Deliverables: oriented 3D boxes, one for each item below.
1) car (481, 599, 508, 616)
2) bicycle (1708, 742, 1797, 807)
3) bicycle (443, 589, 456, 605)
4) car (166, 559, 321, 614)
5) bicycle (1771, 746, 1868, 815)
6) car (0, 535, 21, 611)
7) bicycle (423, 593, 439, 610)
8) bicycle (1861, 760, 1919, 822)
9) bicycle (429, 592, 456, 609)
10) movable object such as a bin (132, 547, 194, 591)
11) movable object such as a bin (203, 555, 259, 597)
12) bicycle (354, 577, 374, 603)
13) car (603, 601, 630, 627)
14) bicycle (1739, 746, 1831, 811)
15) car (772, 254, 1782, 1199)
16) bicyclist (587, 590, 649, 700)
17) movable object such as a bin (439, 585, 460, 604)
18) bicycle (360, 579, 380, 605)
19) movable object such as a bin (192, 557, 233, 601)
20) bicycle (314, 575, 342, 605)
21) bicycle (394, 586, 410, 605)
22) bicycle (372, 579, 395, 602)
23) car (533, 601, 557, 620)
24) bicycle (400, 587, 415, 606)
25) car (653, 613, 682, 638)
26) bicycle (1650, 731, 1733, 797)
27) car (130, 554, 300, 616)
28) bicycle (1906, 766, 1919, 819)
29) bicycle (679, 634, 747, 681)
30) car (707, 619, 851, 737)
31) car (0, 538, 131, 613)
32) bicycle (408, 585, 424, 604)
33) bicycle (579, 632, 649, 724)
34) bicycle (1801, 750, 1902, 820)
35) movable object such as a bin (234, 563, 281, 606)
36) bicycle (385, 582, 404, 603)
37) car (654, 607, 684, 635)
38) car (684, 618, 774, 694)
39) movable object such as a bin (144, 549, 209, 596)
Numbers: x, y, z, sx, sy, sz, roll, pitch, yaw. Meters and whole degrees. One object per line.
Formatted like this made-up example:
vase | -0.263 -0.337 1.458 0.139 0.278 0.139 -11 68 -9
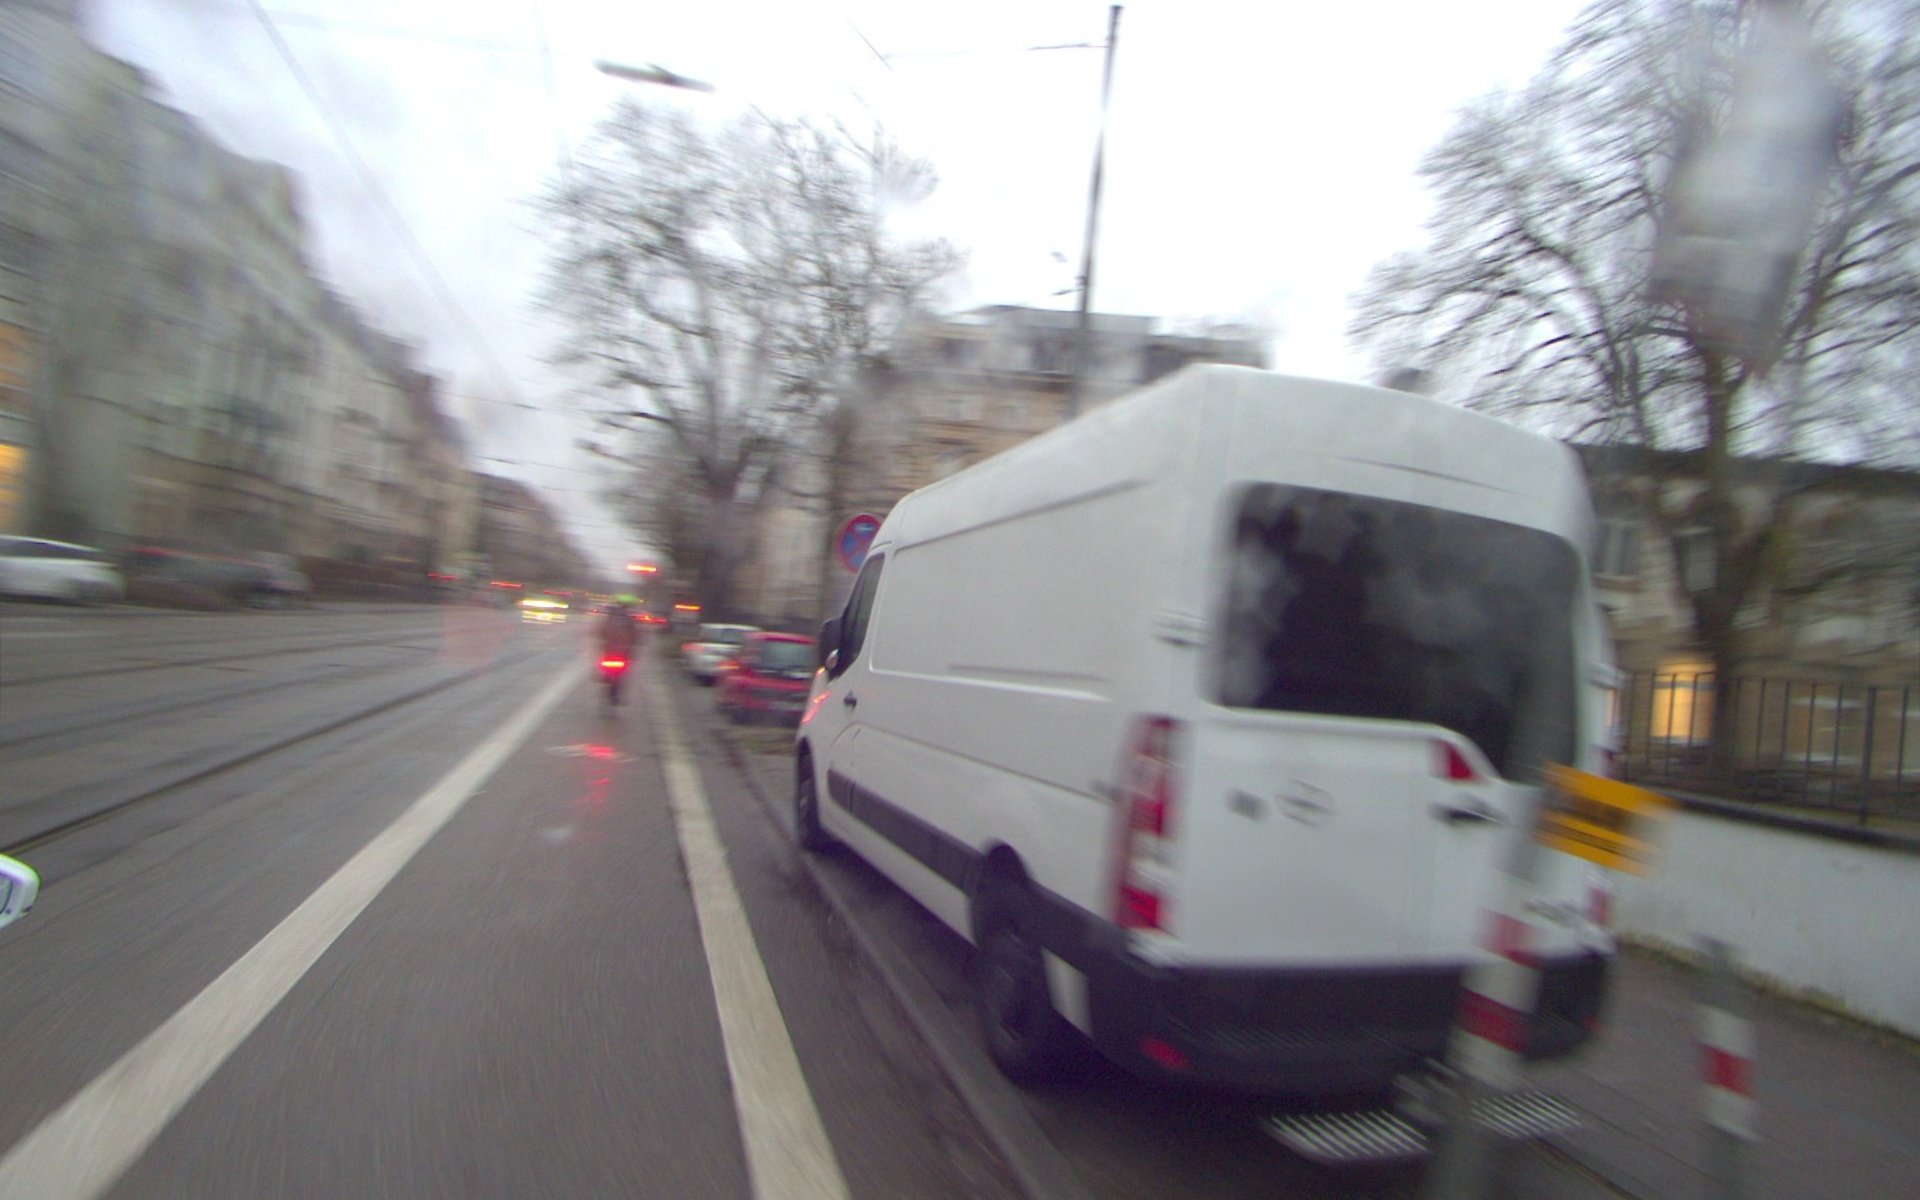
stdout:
car | -45.886 0.754 99.289 1.812 1.464 3.987 7 -2 -18
bicycle | 17.346 3.791 22.088 0.562 1.063 2.142 6 0 12
bicycle | -37.569 -0.228 74.004 0.608 1.093 1.802 7 -1 -22
car | -25.245 -0.435 35.585 1.817 1.445 3.996 6 -2 29
bicycle | 18.602 3.874 21.834 0.562 1.170 2.144 6 -2 12
car | -20.724 -0.747 19.061 1.711 1.480 3.988 4 -3 37
bicycle | -36.051 0.105 68.615 0.618 1.029 1.799 6 -2 -19
bicycle | 20.390 4.124 21.546 0.562 1.105 2.144 6 -2 12
bicycle | -40.556 0.038 78.847 1.788 1.093 0.613 7 -1 -25
movable object such as a bin | -30.415 -1.155 38.436 1.246 1.467 1.323 7 -1 -11
movable object such as a bin | -29.112 -0.944 40.216 1.246 1.467 1.323 7 -1 -11
bicycle | -29.376 -0.501 49.568 0.624 1.227 1.586 7 -1 -27
car | -30.215 1.256 88.440 1.972 1.917 4.745 9 -4 -19
bicycle | 17.971 3.867 21.972 0.562 1.029 2.142 6 0 12
car | 0.613 0.494 5.390 2.100 2.517 5.416 6 -1 -20
bicyclist | -4.864 0.630 14.352 0.648 1.463 0.847 6 -1 -15
movable object such as a bin | -47.163 -0.495 93.021 1.393 1.549 1.360 7 -1 -18
bicycle | -30.334 -0.435 51.751 0.686 1.227 1.586 7 -1 -27
movable object such as a bin | -27.949 -0.791 37.602 1.084 1.467 1.100 7 -1 -39
bicycle | -28.305 -0.450 45.059 0.685 1.227 1.588 7 -1 -23
bicycle | -33.179 -0.246 59.804 0.686 1.042 1.587 7 -3 -27
bicycle | -32.039 -0.518 55.912 0.684 1.041 1.593 6 -5 -17
car | -47.446 1.185 115.134 2.023 1.945 5.080 7 -2 -19
bicycle | -33.923 -0.203 61.757 0.686 1.042 1.587 7 -3 -27
car | -20.767 1.776 71.241 1.658 1.477 4.028 7 -2 -19
bicycle | 16.068 3.580 22.155 0.562 1.170 2.144 6 -2 12
car | -24.279 -0.444 32.947 1.800 1.487 3.999 6 -2 27
bicycle | 21.267 4.242 21.404 0.562 1.123 2.144 6 -2 12
bicycle | -6.836 1.586 27.797 1.693 1.084 0.661 7 -1 -18
car | -3.156 1.236 16.997 1.626 1.541 3.558 8 -2 -20
car | -21.436 -0.647 22.635 1.706 1.440 3.851 6 -2 26
bicycle | -34.503 -0.346 63.811 0.481 1.112 1.924 6 -2 -19
bicycle | -4.939 1.077 14.454 0.698 1.109 2.024 7 -2 -15
bicycle | 19.195 3.958 21.720 0.562 1.170 2.144 6 -2 12
movable object such as a bin | -26.852 -0.587 38.454 1.258 1.467 1.099 7 -1 -40
bicycle | -32.502 -0.417 57.861 0.685 1.041 1.591 6 -6 -23
car | -23.935 1.703 82.512 1.971 1.923 5.009 7 -2 -19
car | -5.836 1.353 25.114 1.673 1.537 3.624 7 -2 -19
movable object such as a bin | -28.019 -0.960 36.007 1.246 1.467 1.323 7 -1 -11
